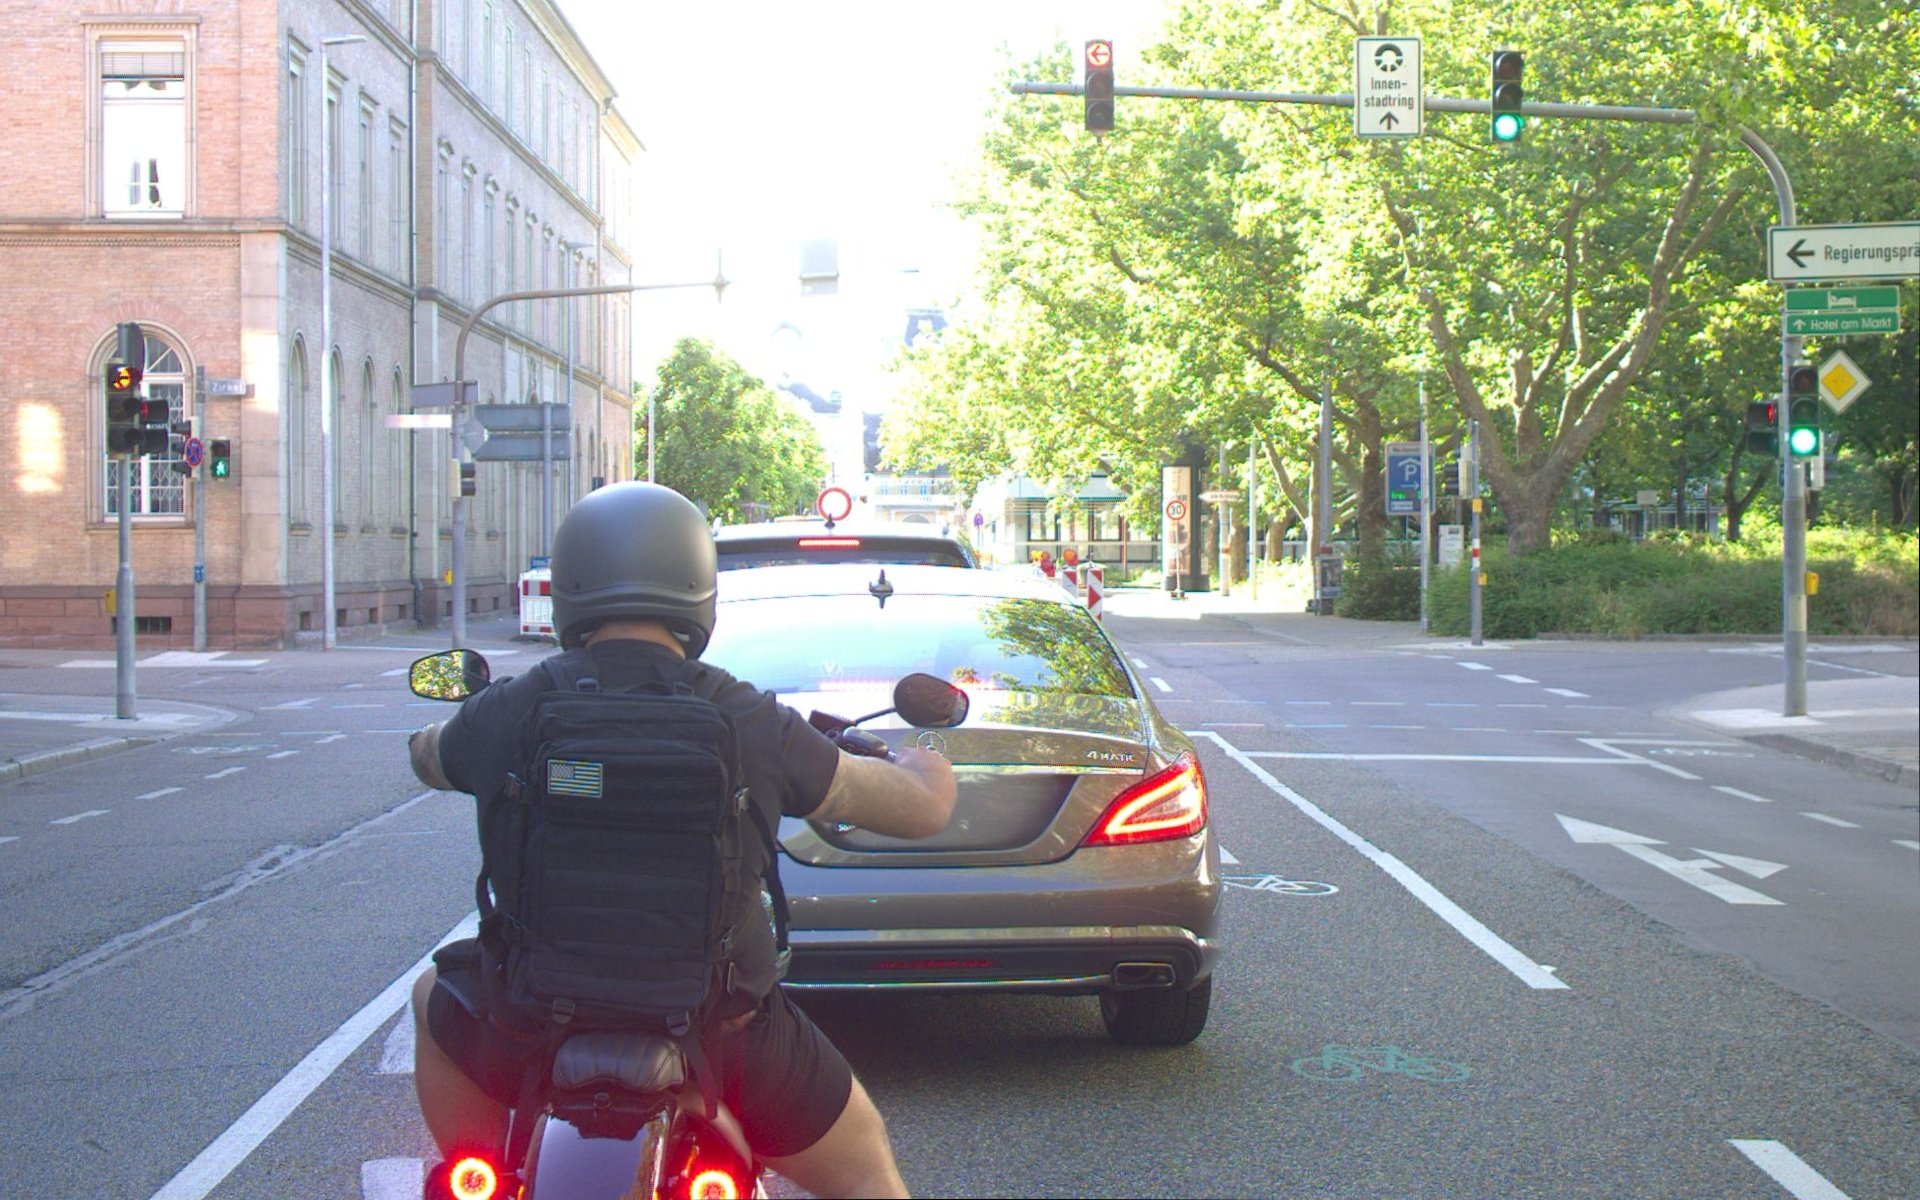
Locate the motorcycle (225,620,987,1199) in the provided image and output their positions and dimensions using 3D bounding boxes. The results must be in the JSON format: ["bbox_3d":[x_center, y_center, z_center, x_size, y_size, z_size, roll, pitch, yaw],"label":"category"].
[{"bbox_3d":[-0.469,0.734,5.543,0.962,1.352,2.320,1,1,-1],"label":"motorcycle"}]

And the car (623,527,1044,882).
[{"bbox_3d":[-0.649,0.413,16.774,1.813,1.530,3.849,0,1,-3],"label":"car"}]

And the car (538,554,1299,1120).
[{"bbox_3d":[-0.354,0.582,11.132,1.901,1.436,4.290,0,1,-8],"label":"car"}]

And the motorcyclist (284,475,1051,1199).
[{"bbox_3d":[-0.419,0.616,5.272,1.061,1.577,0.908,1,0,-1],"label":"motorcyclist"}]
